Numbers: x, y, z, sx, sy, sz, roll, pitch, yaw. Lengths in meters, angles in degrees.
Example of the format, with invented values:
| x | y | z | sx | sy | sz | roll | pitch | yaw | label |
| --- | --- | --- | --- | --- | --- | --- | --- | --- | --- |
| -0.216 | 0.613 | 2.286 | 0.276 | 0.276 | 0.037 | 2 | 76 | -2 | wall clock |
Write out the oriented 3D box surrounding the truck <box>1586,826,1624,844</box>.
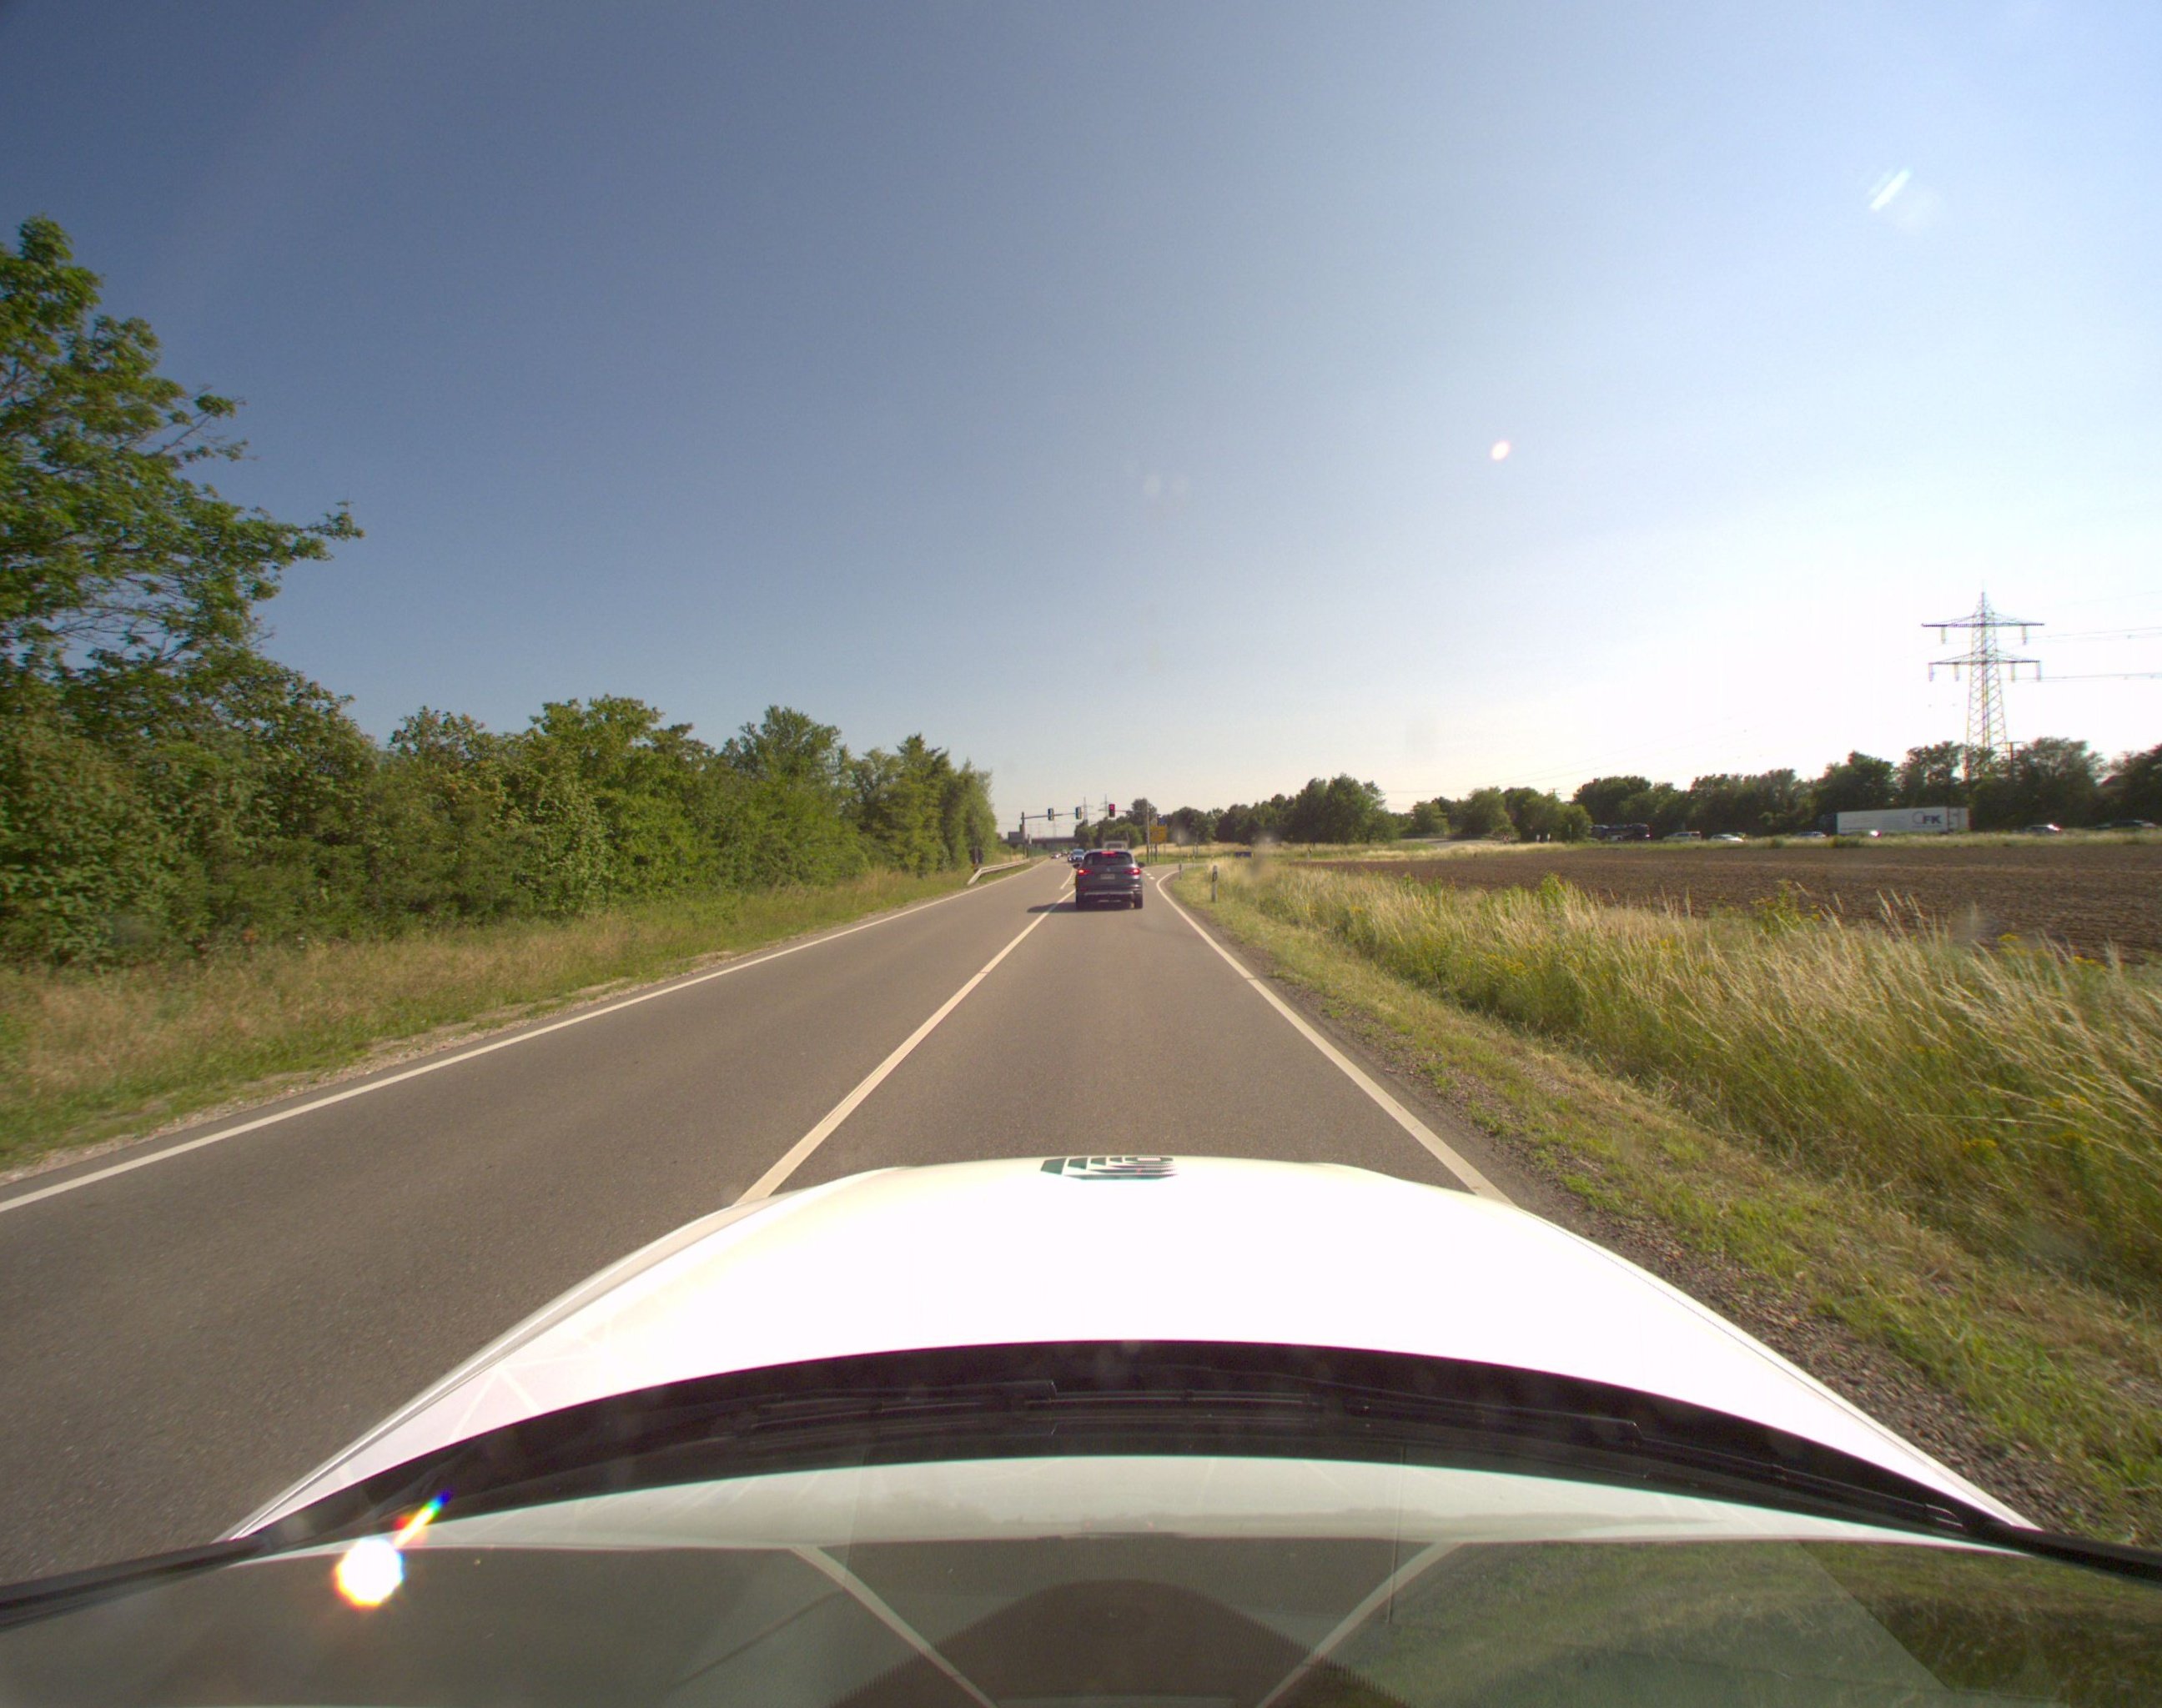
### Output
| x | y | z | sx | sy | sz | roll | pitch | yaw | label |
| --- | --- | --- | --- | --- | --- | --- | --- | --- | --- |
| 101.706 | -3.632 | 158.188 | 3.274 | 3.267 | 6.428 | -2 | 1 | 0 | truck |

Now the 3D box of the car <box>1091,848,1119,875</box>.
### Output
| x | y | z | sx | sy | sz | roll | pitch | yaw | label |
| --- | --- | --- | --- | --- | --- | --- | --- | --- | --- |
| 1.586 | 0.443 | 54.530 | 1.779 | 1.675 | 4.001 | -2 | 0 | 1 | car |

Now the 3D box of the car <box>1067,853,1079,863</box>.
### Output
| x | y | z | sx | sy | sz | roll | pitch | yaw | label |
| --- | --- | --- | --- | --- | --- | --- | --- | --- | --- |
| -1.201 | 0.563 | 123.473 | 1.680 | 1.380 | 3.530 | -1 | 1 | -2 | car |

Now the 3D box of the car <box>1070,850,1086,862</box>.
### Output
| x | y | z | sx | sy | sz | roll | pitch | yaw | label |
| --- | --- | --- | --- | --- | --- | --- | --- | --- | --- |
| -0.422 | 0.259 | 106.285 | 1.812 | 1.540 | 3.996 | -2 | 0 | -2 | car |

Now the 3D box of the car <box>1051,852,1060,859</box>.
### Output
| x | y | z | sx | sy | sz | roll | pitch | yaw | label |
| --- | --- | --- | --- | --- | --- | --- | --- | --- | --- |
| -5.677 | 0.263 | 178.803 | 1.820 | 1.431 | 3.996 | -2 | 0 | -3 | car |

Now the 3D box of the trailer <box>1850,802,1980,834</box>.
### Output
| x | y | z | sx | sy | sz | roll | pitch | yaw | label |
| --- | --- | --- | --- | --- | --- | --- | --- | --- | --- |
| 102.542 | -4.335 | 100.664 | 3.273 | 3.267 | 12.455 | -2 | 0 | 0 | trailer |

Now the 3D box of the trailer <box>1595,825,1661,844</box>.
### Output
| x | y | z | sx | sy | sz | roll | pitch | yaw | label |
| --- | --- | --- | --- | --- | --- | --- | --- | --- | --- |
| 101.668 | -3.555 | 151.781 | 3.273 | 3.267 | 13.453 | -2 | 1 | 0 | trailer |

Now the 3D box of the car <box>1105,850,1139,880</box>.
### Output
| x | y | z | sx | sy | sz | roll | pitch | yaw | label |
| --- | --- | --- | --- | --- | --- | --- | --- | --- | --- |
| 2.302 | 0.602 | 46.829 | 1.779 | 1.543 | 4.001 | -2 | 0 | 1 | car |

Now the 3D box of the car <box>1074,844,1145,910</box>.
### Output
| x | y | z | sx | sy | sz | roll | pitch | yaw | label |
| --- | --- | --- | --- | --- | --- | --- | --- | --- | --- |
| 0.769 | 0.577 | 22.720 | 1.779 | 1.629 | 4.001 | -2 | 0 | 1 | car |

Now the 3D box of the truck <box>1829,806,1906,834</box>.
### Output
| x | y | z | sx | sy | sz | roll | pitch | yaw | label |
| --- | --- | --- | --- | --- | --- | --- | --- | --- | --- |
| 102.561 | -4.338 | 106.395 | 3.274 | 3.267 | 6.978 | -2 | 0 | 0 | truck |

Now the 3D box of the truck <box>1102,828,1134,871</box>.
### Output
| x | y | z | sx | sy | sz | roll | pitch | yaw | label |
| --- | --- | --- | --- | --- | --- | --- | --- | --- | --- |
| 2.798 | -0.318 | 62.140 | 2.328 | 3.066 | 5.812 | -1 | 0 | 2 | truck |

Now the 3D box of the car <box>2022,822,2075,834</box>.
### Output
| x | y | z | sx | sy | sz | roll | pitch | yaw | label |
| --- | --- | --- | --- | --- | --- | --- | --- | --- | --- |
| 101.399 | -2.686 | 85.400 | 1.390 | 1.151 | 3.580 | 0 | 1 | -1 | car |
